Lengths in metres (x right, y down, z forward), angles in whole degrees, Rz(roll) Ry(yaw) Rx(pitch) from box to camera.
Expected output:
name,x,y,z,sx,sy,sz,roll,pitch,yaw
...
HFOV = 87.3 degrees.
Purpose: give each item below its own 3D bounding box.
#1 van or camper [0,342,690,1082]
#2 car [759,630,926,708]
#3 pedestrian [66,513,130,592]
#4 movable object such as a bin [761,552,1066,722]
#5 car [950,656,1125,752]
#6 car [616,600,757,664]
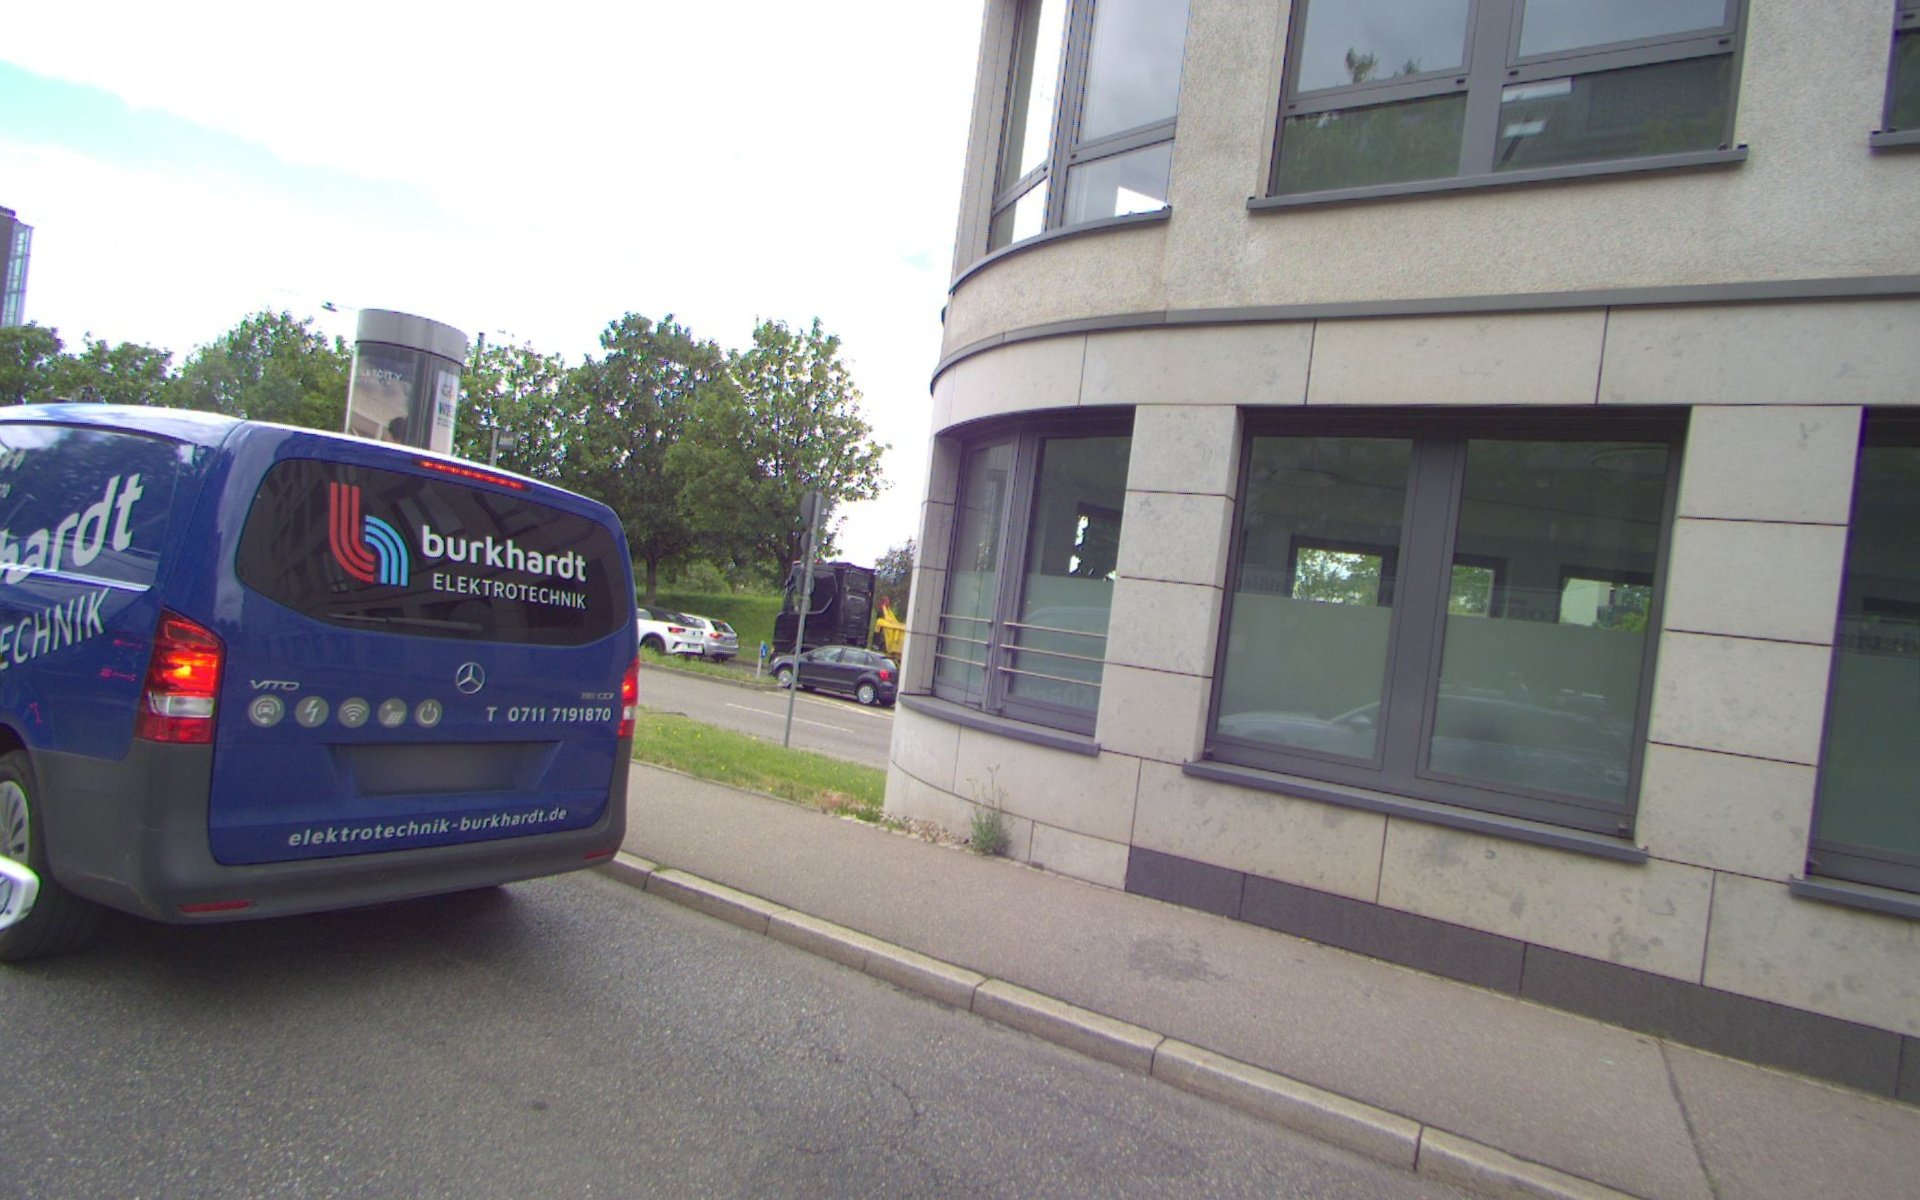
name,x,y,z,sx,sy,sz,roll,pitch,yaw
van or camper,-3.806,0.126,4.716,4.949,1.934,1.862,7,-1,32
car,-3.208,1.915,27.737,3.925,1.469,2.003,8,-3,19
pedestrian,-18.977,-1.025,22.162,0.564,1.602,0.740,9,-2,-8
movable object such as a bin,-1.407,1.057,30.568,8.410,3.949,2.870,7,-1,18
car,2.007,2.636,25.716,3.925,1.723,2.003,8,-3,19
car,-9.115,1.084,33.606,3.925,1.469,2.003,8,-3,19
